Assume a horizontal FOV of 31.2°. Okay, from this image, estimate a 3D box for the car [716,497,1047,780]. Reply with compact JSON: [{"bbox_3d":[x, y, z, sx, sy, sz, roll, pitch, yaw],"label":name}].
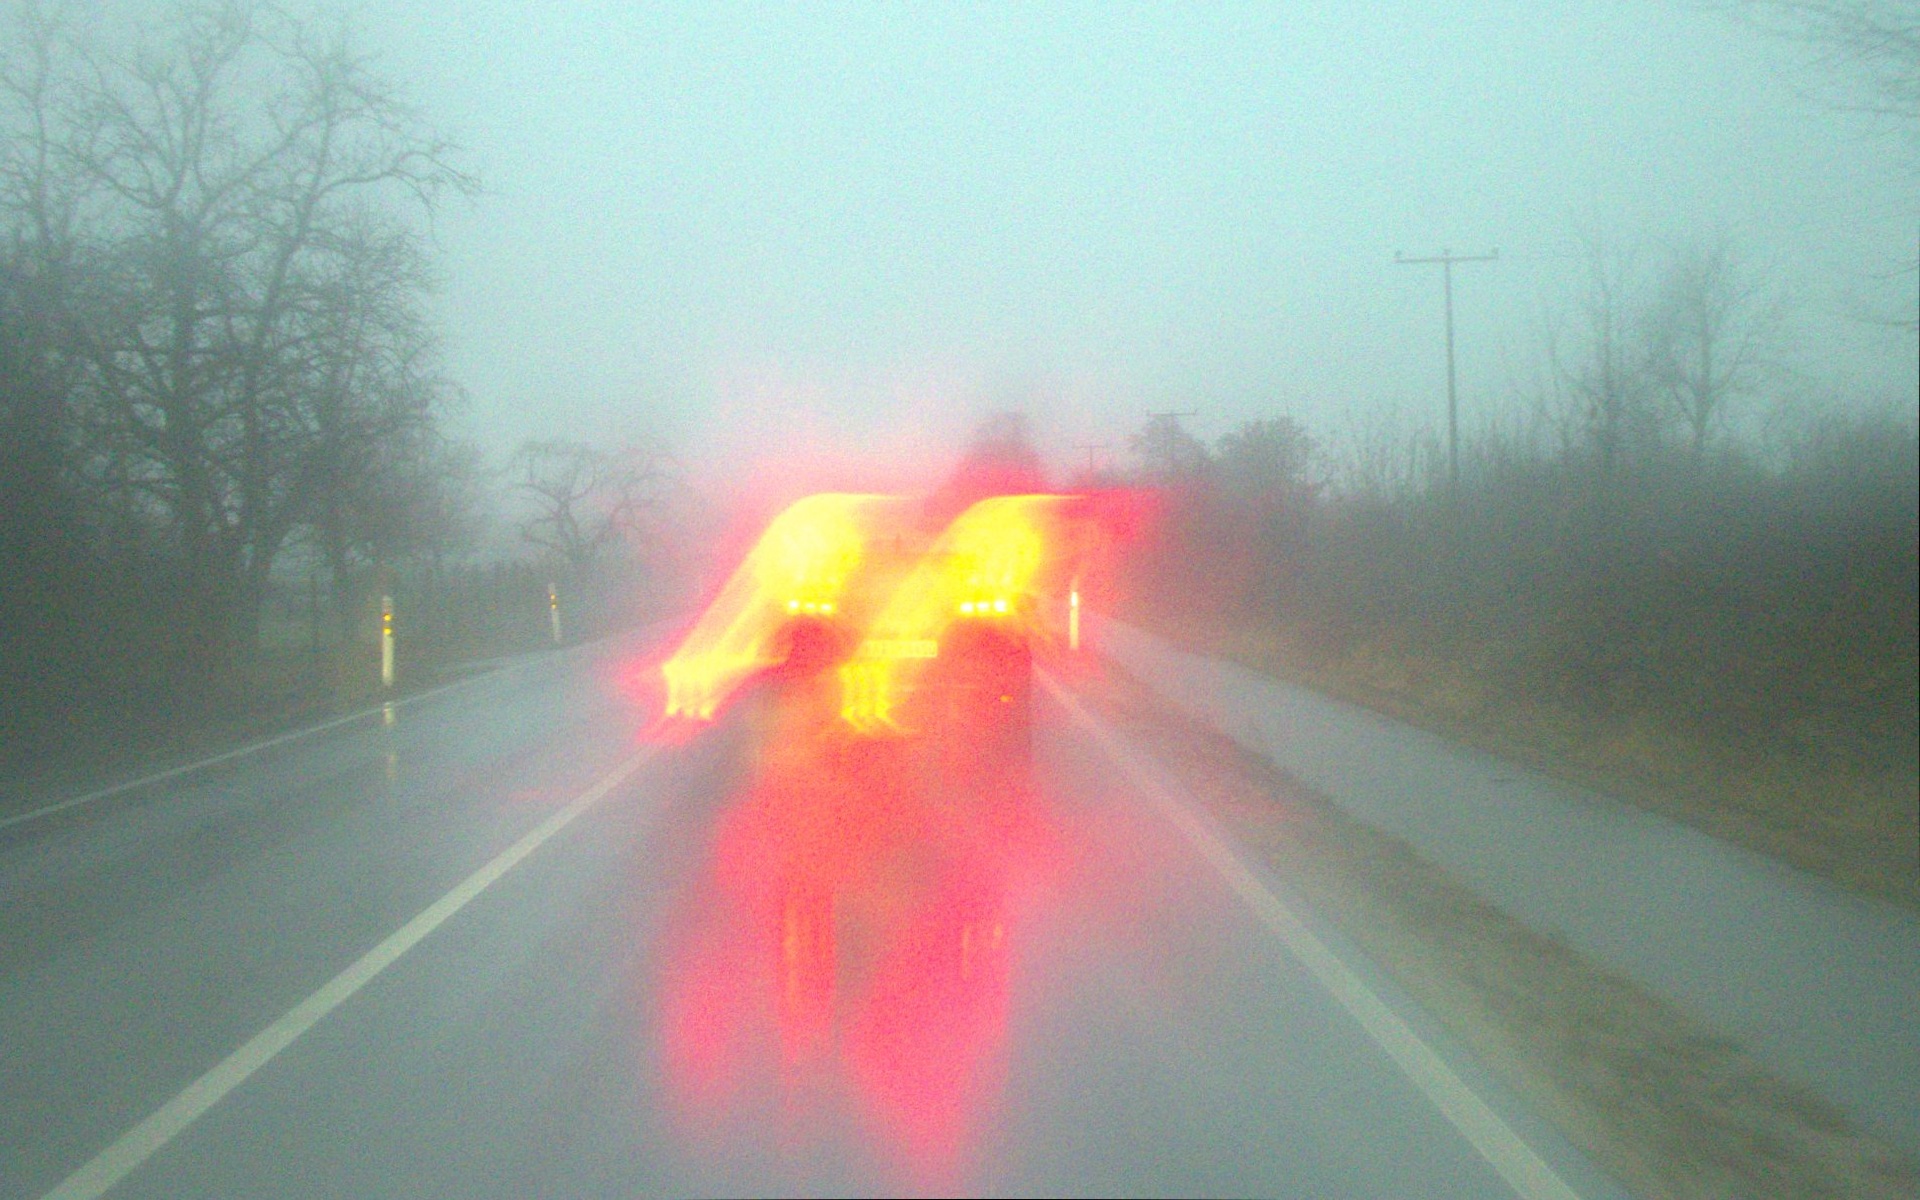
[{"bbox_3d":[-0.532,0.205,24.594,2.120,1.813,4.980,0,1,-1],"label":"car"}]
